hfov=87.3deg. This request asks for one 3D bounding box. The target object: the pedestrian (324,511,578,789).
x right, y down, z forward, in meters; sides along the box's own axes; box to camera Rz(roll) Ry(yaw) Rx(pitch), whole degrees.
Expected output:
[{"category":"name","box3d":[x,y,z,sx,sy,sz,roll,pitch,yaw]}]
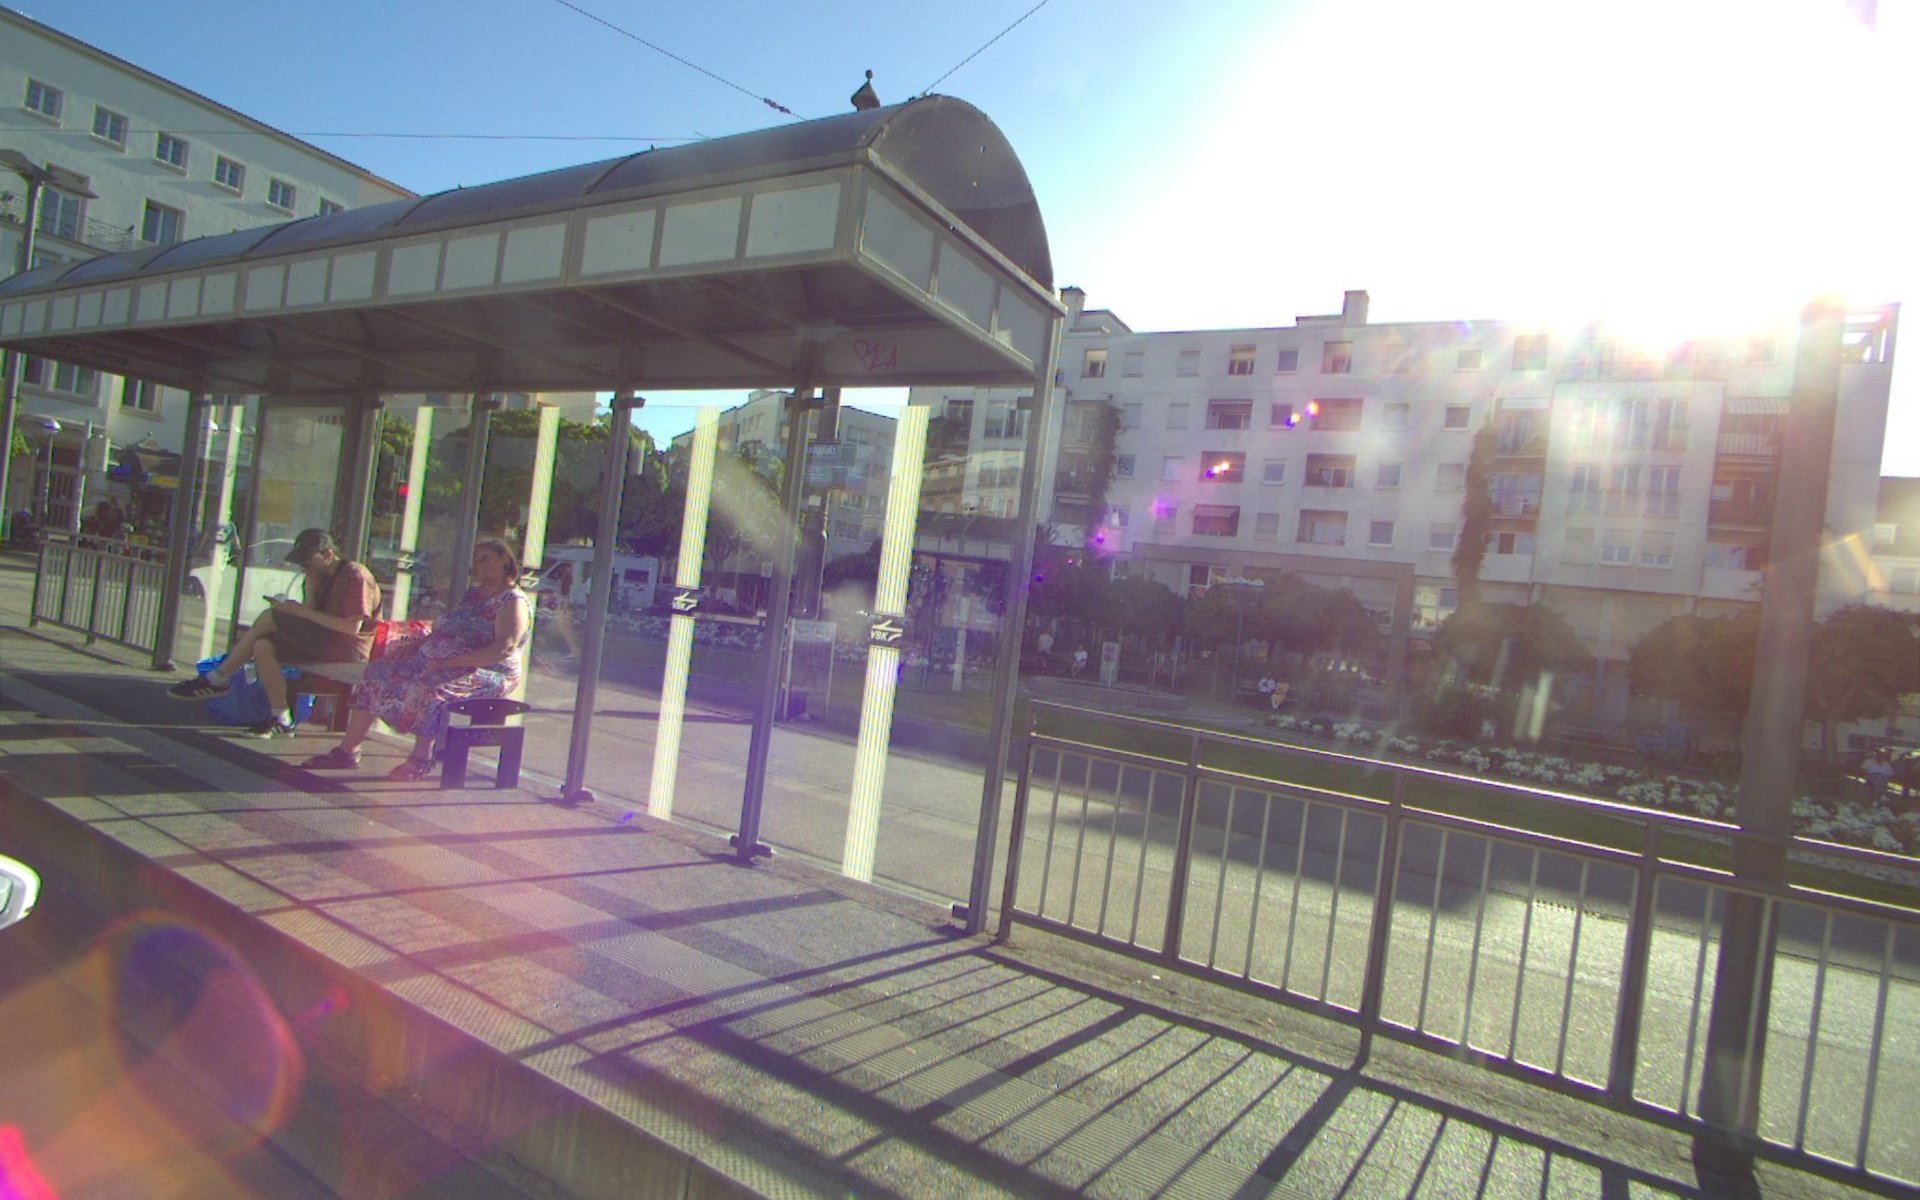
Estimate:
[{"category":"pedestrian","box3d":[-2.729,0.285,5.453,0.613,1.348,0.861,6,-4,31]}]

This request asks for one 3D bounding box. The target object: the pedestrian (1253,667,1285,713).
[{"category":"pedestrian","box3d":[9.607,2.785,31.279,0.718,1.287,0.745,7,0,11]}]

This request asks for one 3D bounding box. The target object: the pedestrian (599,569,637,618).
[{"category":"pedestrian","box3d":[-12.275,-0.237,36.102,0.651,1.604,0.902,7,0,35]}]

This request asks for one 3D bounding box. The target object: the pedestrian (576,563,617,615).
[{"category":"pedestrian","box3d":[-12.090,-0.371,33.488,0.651,1.605,0.902,7,0,35]}]

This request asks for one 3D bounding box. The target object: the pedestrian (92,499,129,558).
[{"category":"pedestrian","box3d":[-28.646,-2.420,33.913,0.649,1.861,0.653,7,0,35]}]

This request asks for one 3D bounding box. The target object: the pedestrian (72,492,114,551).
[{"category":"pedestrian","box3d":[-29.448,-2.667,34.181,0.667,1.861,0.785,7,0,35]}]

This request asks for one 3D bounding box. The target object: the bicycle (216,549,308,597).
[{"category":"bicycle","box3d":[-19.698,-0.745,28.472,0.707,1.073,2.326,8,-2,4]}]

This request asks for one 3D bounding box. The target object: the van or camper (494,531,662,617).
[{"category":"van or camper","box3d":[-16.493,-1.045,43.835,2.340,2.873,6.411,7,-1,35]}]

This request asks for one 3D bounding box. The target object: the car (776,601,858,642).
[{"category":"car","box3d":[-6.742,1.069,47.869,1.964,1.503,4.000,7,-1,23]}]

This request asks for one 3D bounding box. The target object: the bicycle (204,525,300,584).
[{"category":"bicycle","box3d":[-23.530,-1.482,33.485,0.714,1.548,2.391,7,-3,31]}]

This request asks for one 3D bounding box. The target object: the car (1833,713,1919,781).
[{"category":"car","box3d":[43.905,6.897,45.214,6.285,2.585,2.813,7,-1,27]}]

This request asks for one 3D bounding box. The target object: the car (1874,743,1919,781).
[{"category":"car","box3d":[39.784,6.796,40.638,3.941,1.303,1.993,7,-1,38]}]

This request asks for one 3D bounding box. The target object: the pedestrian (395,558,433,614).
[{"category":"pedestrian","box3d":[-12.389,-0.310,22.829,0.550,1.182,0.469,6,-2,40]}]

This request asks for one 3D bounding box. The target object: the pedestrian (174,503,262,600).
[{"category":"pedestrian","box3d":[-15.899,-1.039,21.563,1.110,1.900,0.983,6,-1,29]}]

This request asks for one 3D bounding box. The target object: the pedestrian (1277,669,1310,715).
[{"category":"pedestrian","box3d":[10.321,2.842,31.137,0.718,1.287,0.745,7,0,11]}]

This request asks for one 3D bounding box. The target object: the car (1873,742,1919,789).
[{"category":"car","box3d":[36.437,6.329,36.987,3.941,1.535,1.993,7,-1,38]}]

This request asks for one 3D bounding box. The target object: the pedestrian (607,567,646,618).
[{"category":"pedestrian","box3d":[-11.417,-0.241,34.475,0.651,1.605,0.902,7,0,35]}]

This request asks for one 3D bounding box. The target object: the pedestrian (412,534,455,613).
[{"category":"pedestrian","box3d":[-12.331,-0.613,23.570,0.520,1.765,0.557,6,-1,42]}]

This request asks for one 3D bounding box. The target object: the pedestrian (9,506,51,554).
[{"category":"pedestrian","box3d":[-28.006,-2.115,30.316,0.736,1.332,0.622,7,0,-35]}]

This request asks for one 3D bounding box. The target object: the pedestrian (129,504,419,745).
[{"category":"pedestrian","box3d":[-4.062,0.165,6.004,0.908,1.238,1.001,6,-4,32]}]

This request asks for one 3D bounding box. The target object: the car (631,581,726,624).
[{"category":"car","box3d":[-13.888,0.127,49.841,1.974,1.529,3.982,6,-3,43]}]

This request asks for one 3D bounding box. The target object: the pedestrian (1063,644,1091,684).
[{"category":"pedestrian","box3d":[4.064,2.201,34.858,0.718,1.287,1.042,7,0,11]}]

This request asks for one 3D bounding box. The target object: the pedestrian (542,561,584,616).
[{"category":"pedestrian","box3d":[-13.390,-0.387,33.948,0.684,1.705,0.902,7,0,35]}]

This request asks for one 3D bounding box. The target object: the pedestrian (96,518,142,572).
[{"category":"pedestrian","box3d":[-25.238,-1.642,30.191,0.742,1.427,0.731,11,1,32]}]

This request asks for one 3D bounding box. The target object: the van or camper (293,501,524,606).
[{"category":"van or camper","box3d":[-20.392,-1.618,37.676,2.331,2.780,7.132,9,0,32]}]

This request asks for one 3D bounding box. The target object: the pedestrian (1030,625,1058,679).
[{"category":"pedestrian","box3d":[2.893,1.777,34.574,0.661,1.745,1.028,7,0,11]}]

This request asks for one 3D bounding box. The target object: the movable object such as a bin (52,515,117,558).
[{"category":"movable object such as a bin","box3d":[-28.121,-2.040,32.335,1.197,1.167,1.200,7,-1,32]}]

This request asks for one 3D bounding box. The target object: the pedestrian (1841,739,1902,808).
[{"category":"pedestrian","box3d":[21.572,4.081,23.845,0.923,1.428,1.521,7,-1,42]}]

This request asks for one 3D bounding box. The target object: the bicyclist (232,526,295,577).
[{"category":"bicyclist","box3d":[-19.617,-1.354,28.357,0.936,1.239,0.935,8,-2,4]}]
